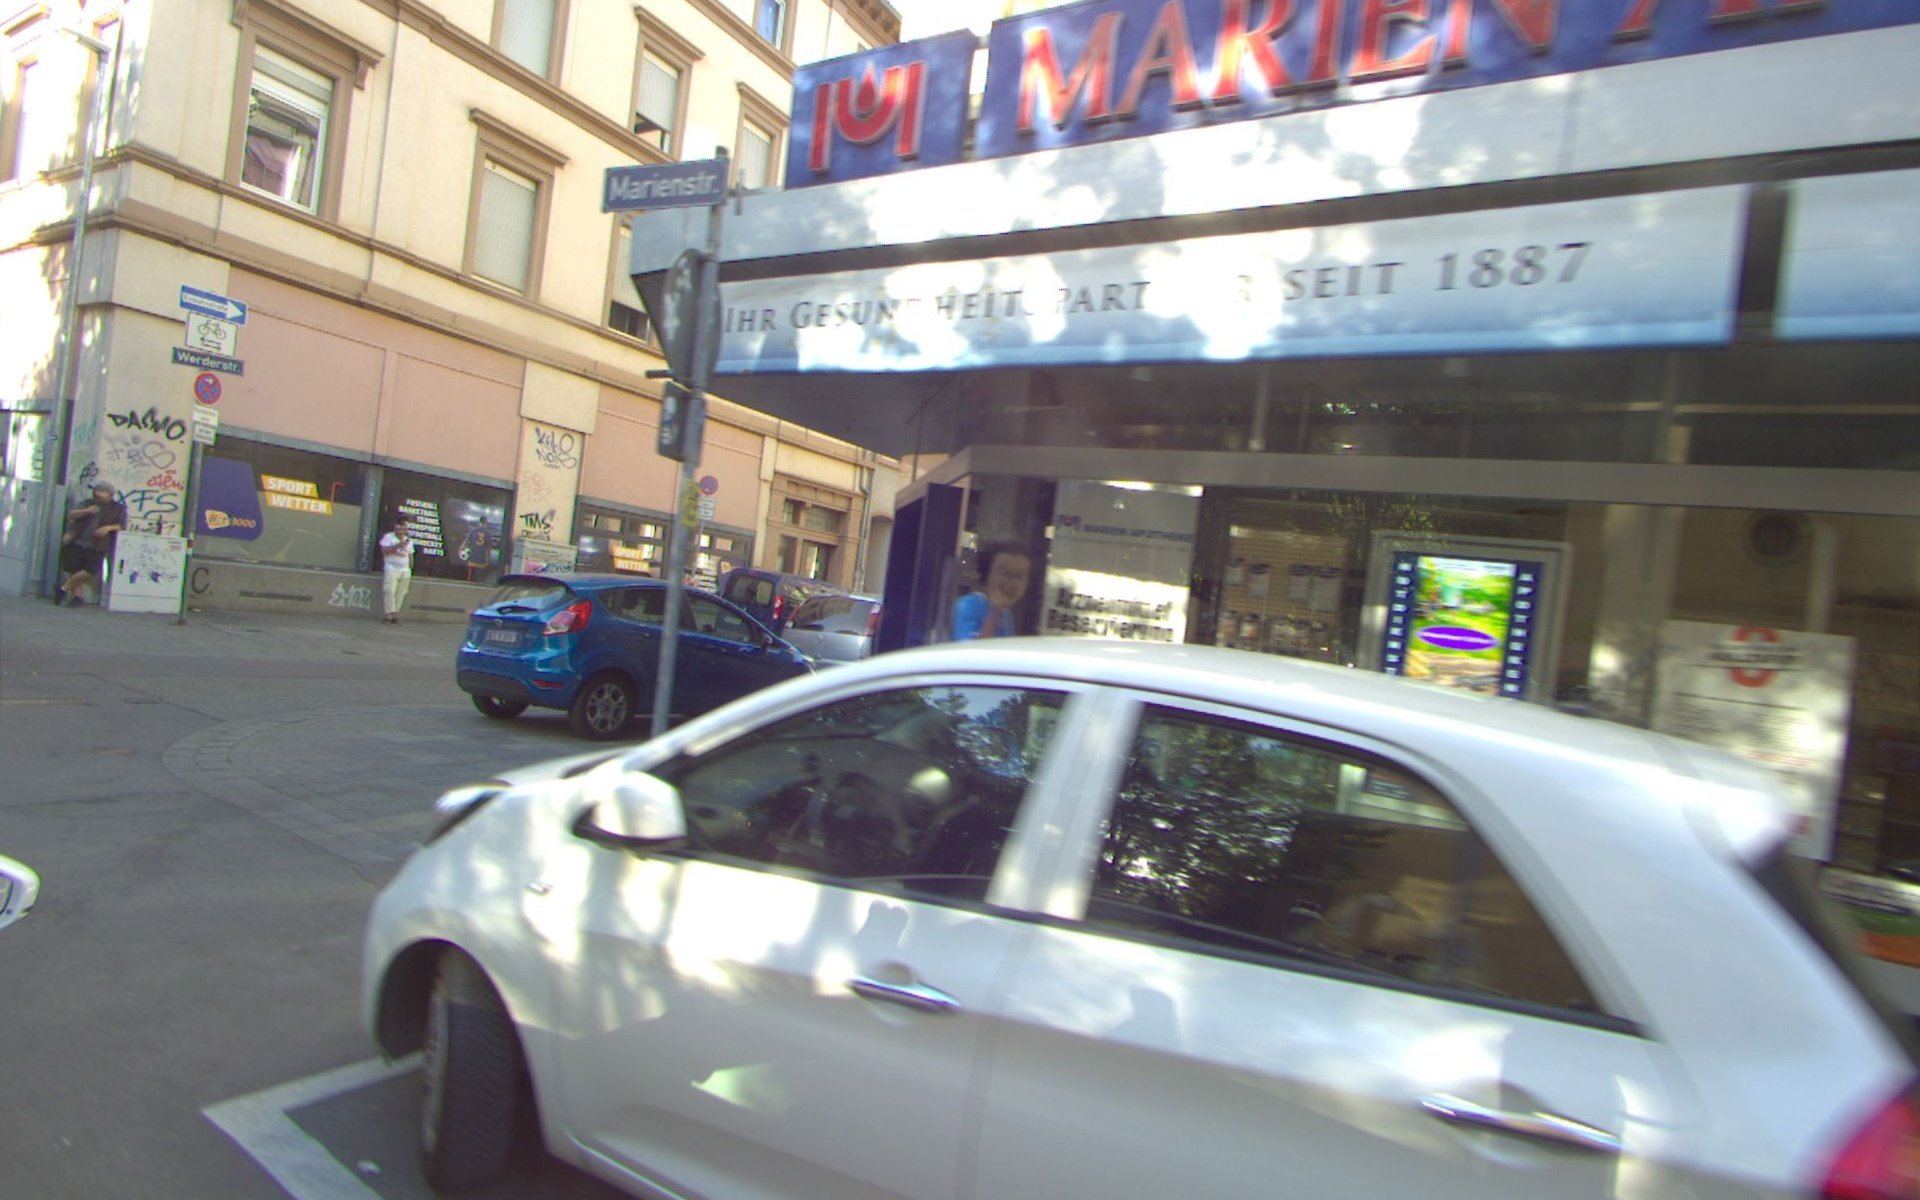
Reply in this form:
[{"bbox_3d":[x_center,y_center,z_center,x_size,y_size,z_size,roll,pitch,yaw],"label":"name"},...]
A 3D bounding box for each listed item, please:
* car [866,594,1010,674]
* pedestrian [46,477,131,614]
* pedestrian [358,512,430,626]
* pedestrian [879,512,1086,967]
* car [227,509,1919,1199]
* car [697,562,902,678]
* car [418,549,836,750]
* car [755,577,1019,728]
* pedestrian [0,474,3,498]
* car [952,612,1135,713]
[{"bbox_3d":[-0.449,0.890,24.974,1.560,1.631,3.934,7,-1,32],"label":"car"},{"bbox_3d":[-11.290,-0.705,13.049,0.594,1.671,0.461,7,2,-27],"label":"pedestrian"},{"bbox_3d":[-9.199,-0.494,16.361,0.467,1.746,0.692,7,-1,31],"label":"pedestrian"},{"bbox_3d":[0.115,0.604,4.646,0.521,1.916,0.562,7,-1,31],"label":"pedestrian"},{"bbox_3d":[0.090,0.745,2.550,3.578,1.480,1.693,6,-2,29],"label":"car"},{"bbox_3d":[-3.191,0.482,20.698,1.837,1.863,3.930,10,1,32],"label":"car"},{"bbox_3d":[-3.124,0.517,10.090,1.759,1.504,3.578,7,-1,32],"label":"car"},{"bbox_3d":[-0.859,0.764,13.931,1.603,1.649,3.740,7,-1,32],"label":"car"},{"bbox_3d":[-9.452,-0.419,9.293,0.520,1.658,0.564,7,-1,-14],"label":"pedestrian"},{"bbox_3d":[1.622,1.159,18.115,1.534,1.473,3.982,6,-1,32],"label":"car"}]
